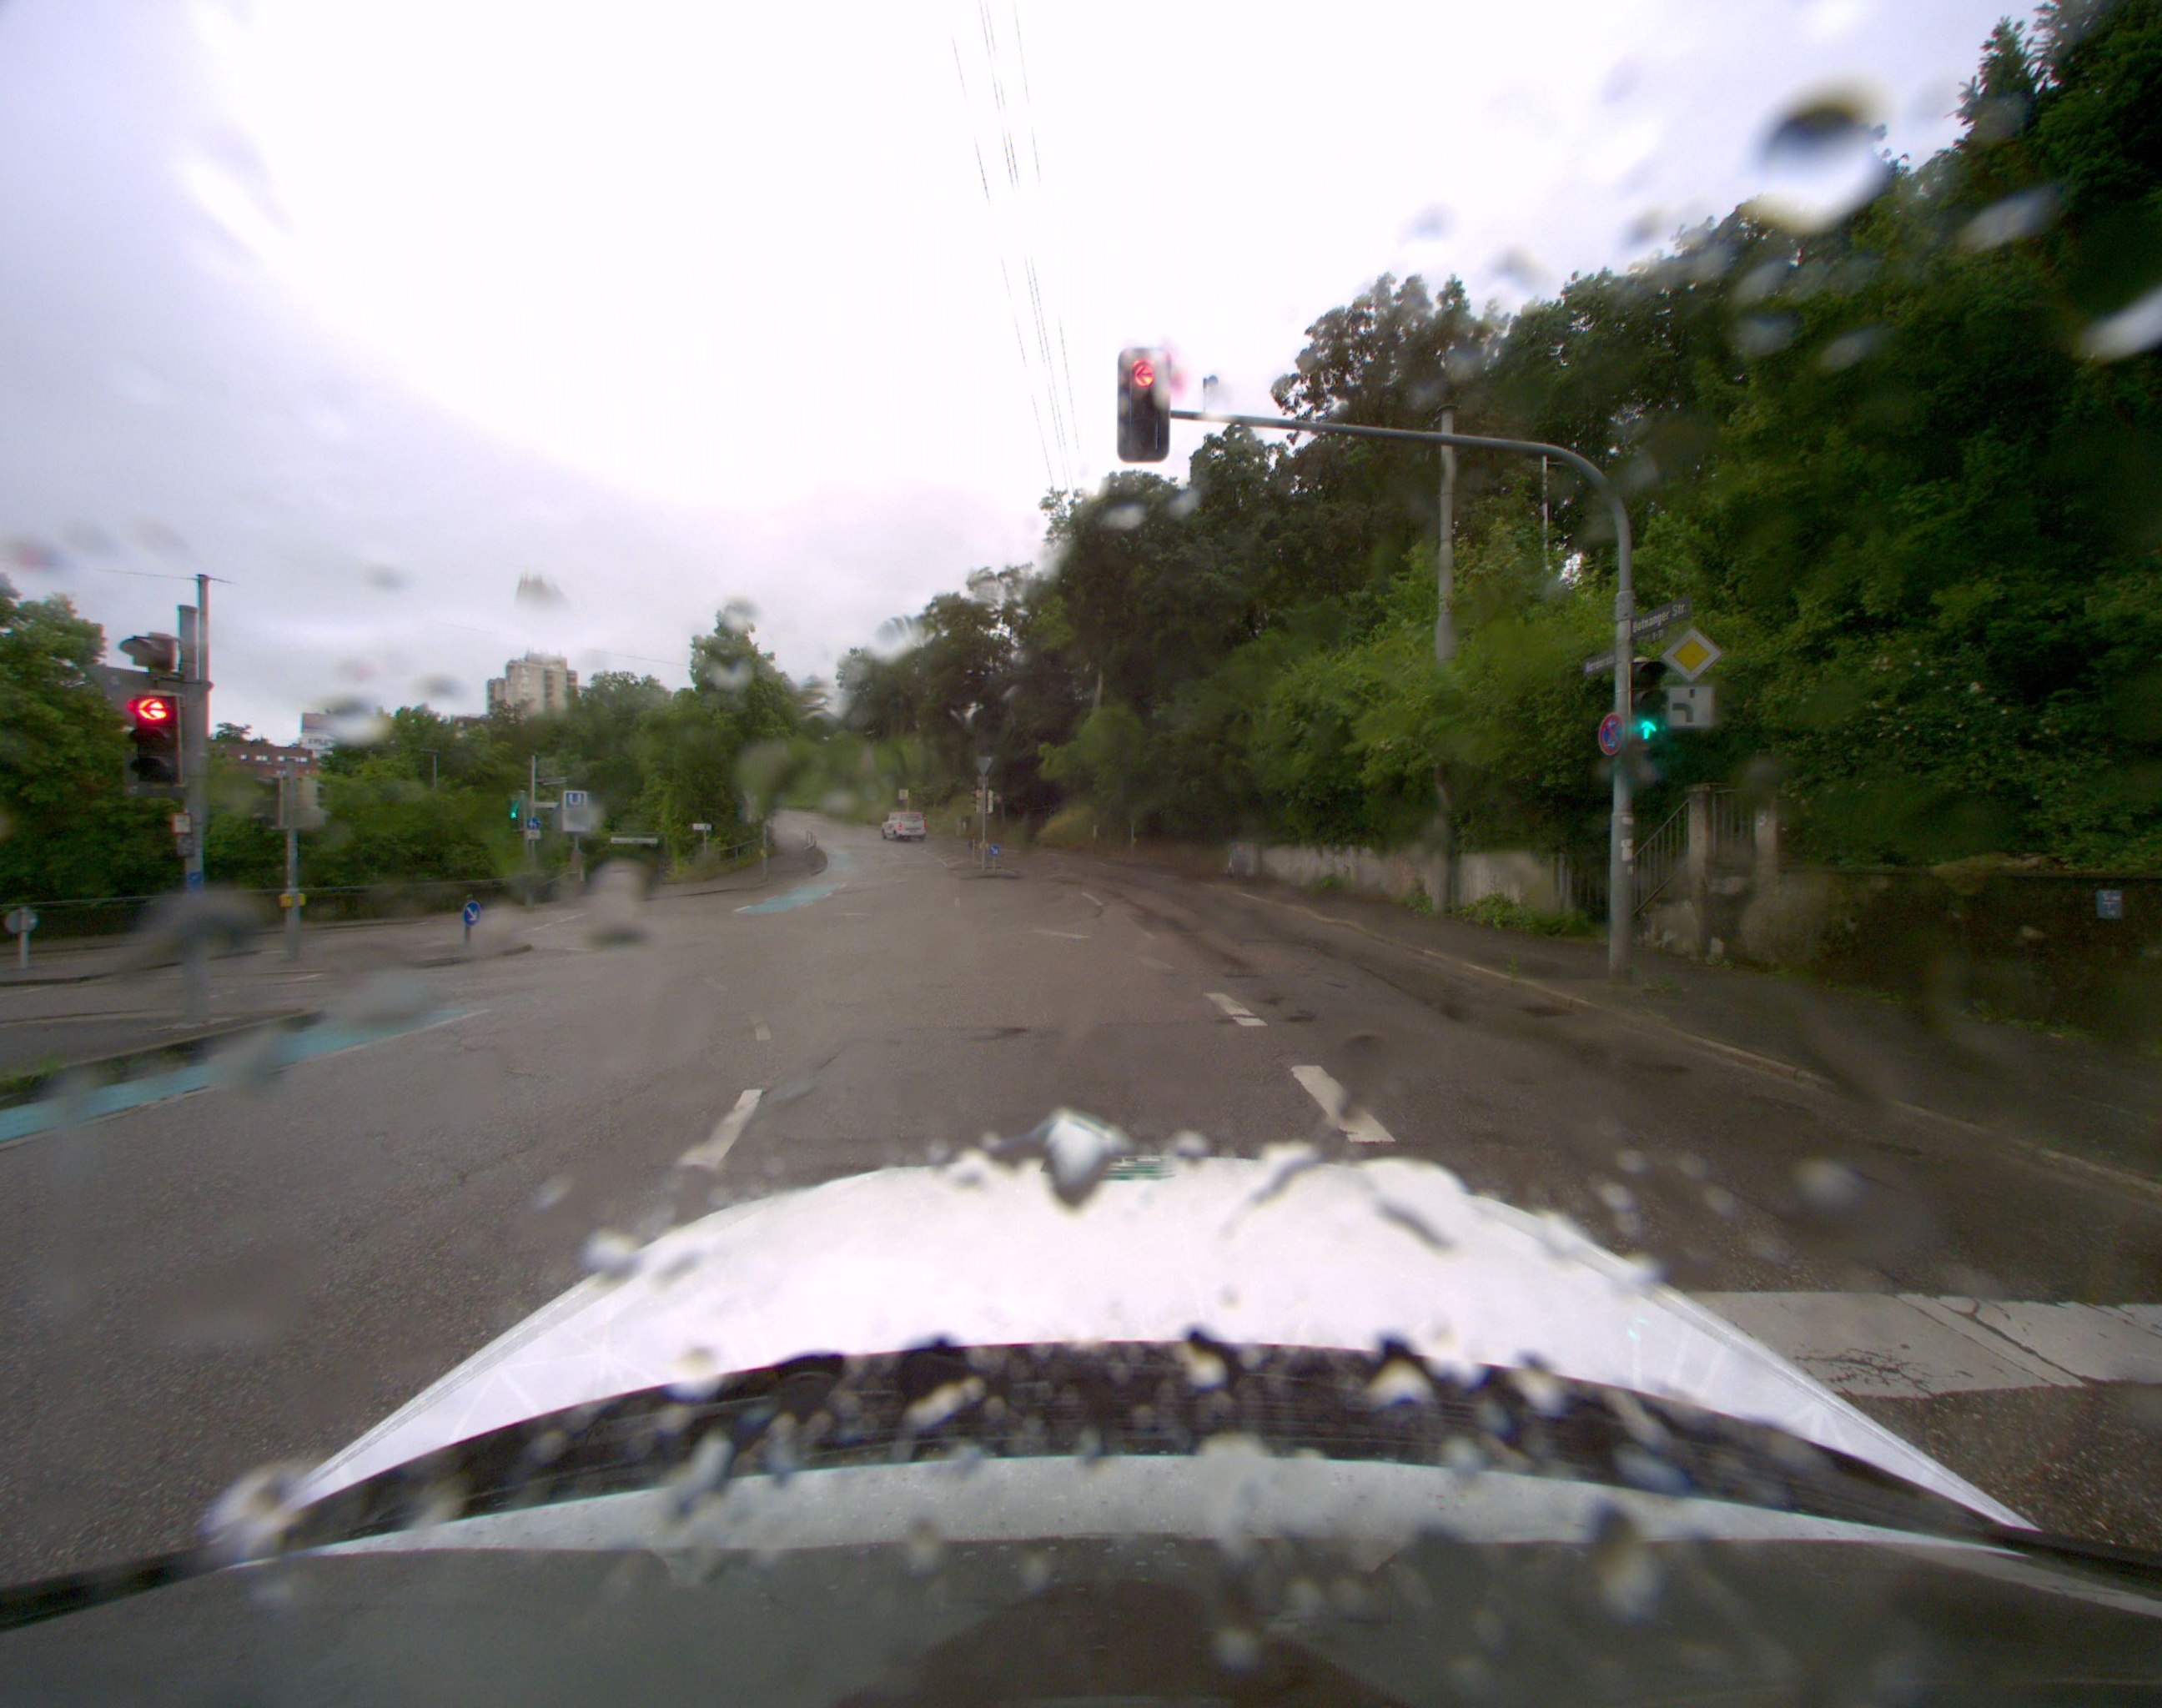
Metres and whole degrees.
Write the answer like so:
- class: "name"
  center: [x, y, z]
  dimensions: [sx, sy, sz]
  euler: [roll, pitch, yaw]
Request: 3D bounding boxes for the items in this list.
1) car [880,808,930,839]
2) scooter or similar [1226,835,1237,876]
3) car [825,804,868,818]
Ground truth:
- class: "car"
  center: [-12.228, -2.069, 56.415]
  dimensions: [2.078, 2.006, 4.770]
  euler: [-1, 1, -29]
- class: "scooter or similar"
  center: [4.899, 0.044, 26.482]
  dimensions: [0.320, 1.279, 0.754]
  euler: [-1, 3, 10]
- class: "car"
  center: [-27.276, -5.000, 94.685]
  dimensions: [4.357, 1.511, 1.971]
  euler: [1, 3, 15]
